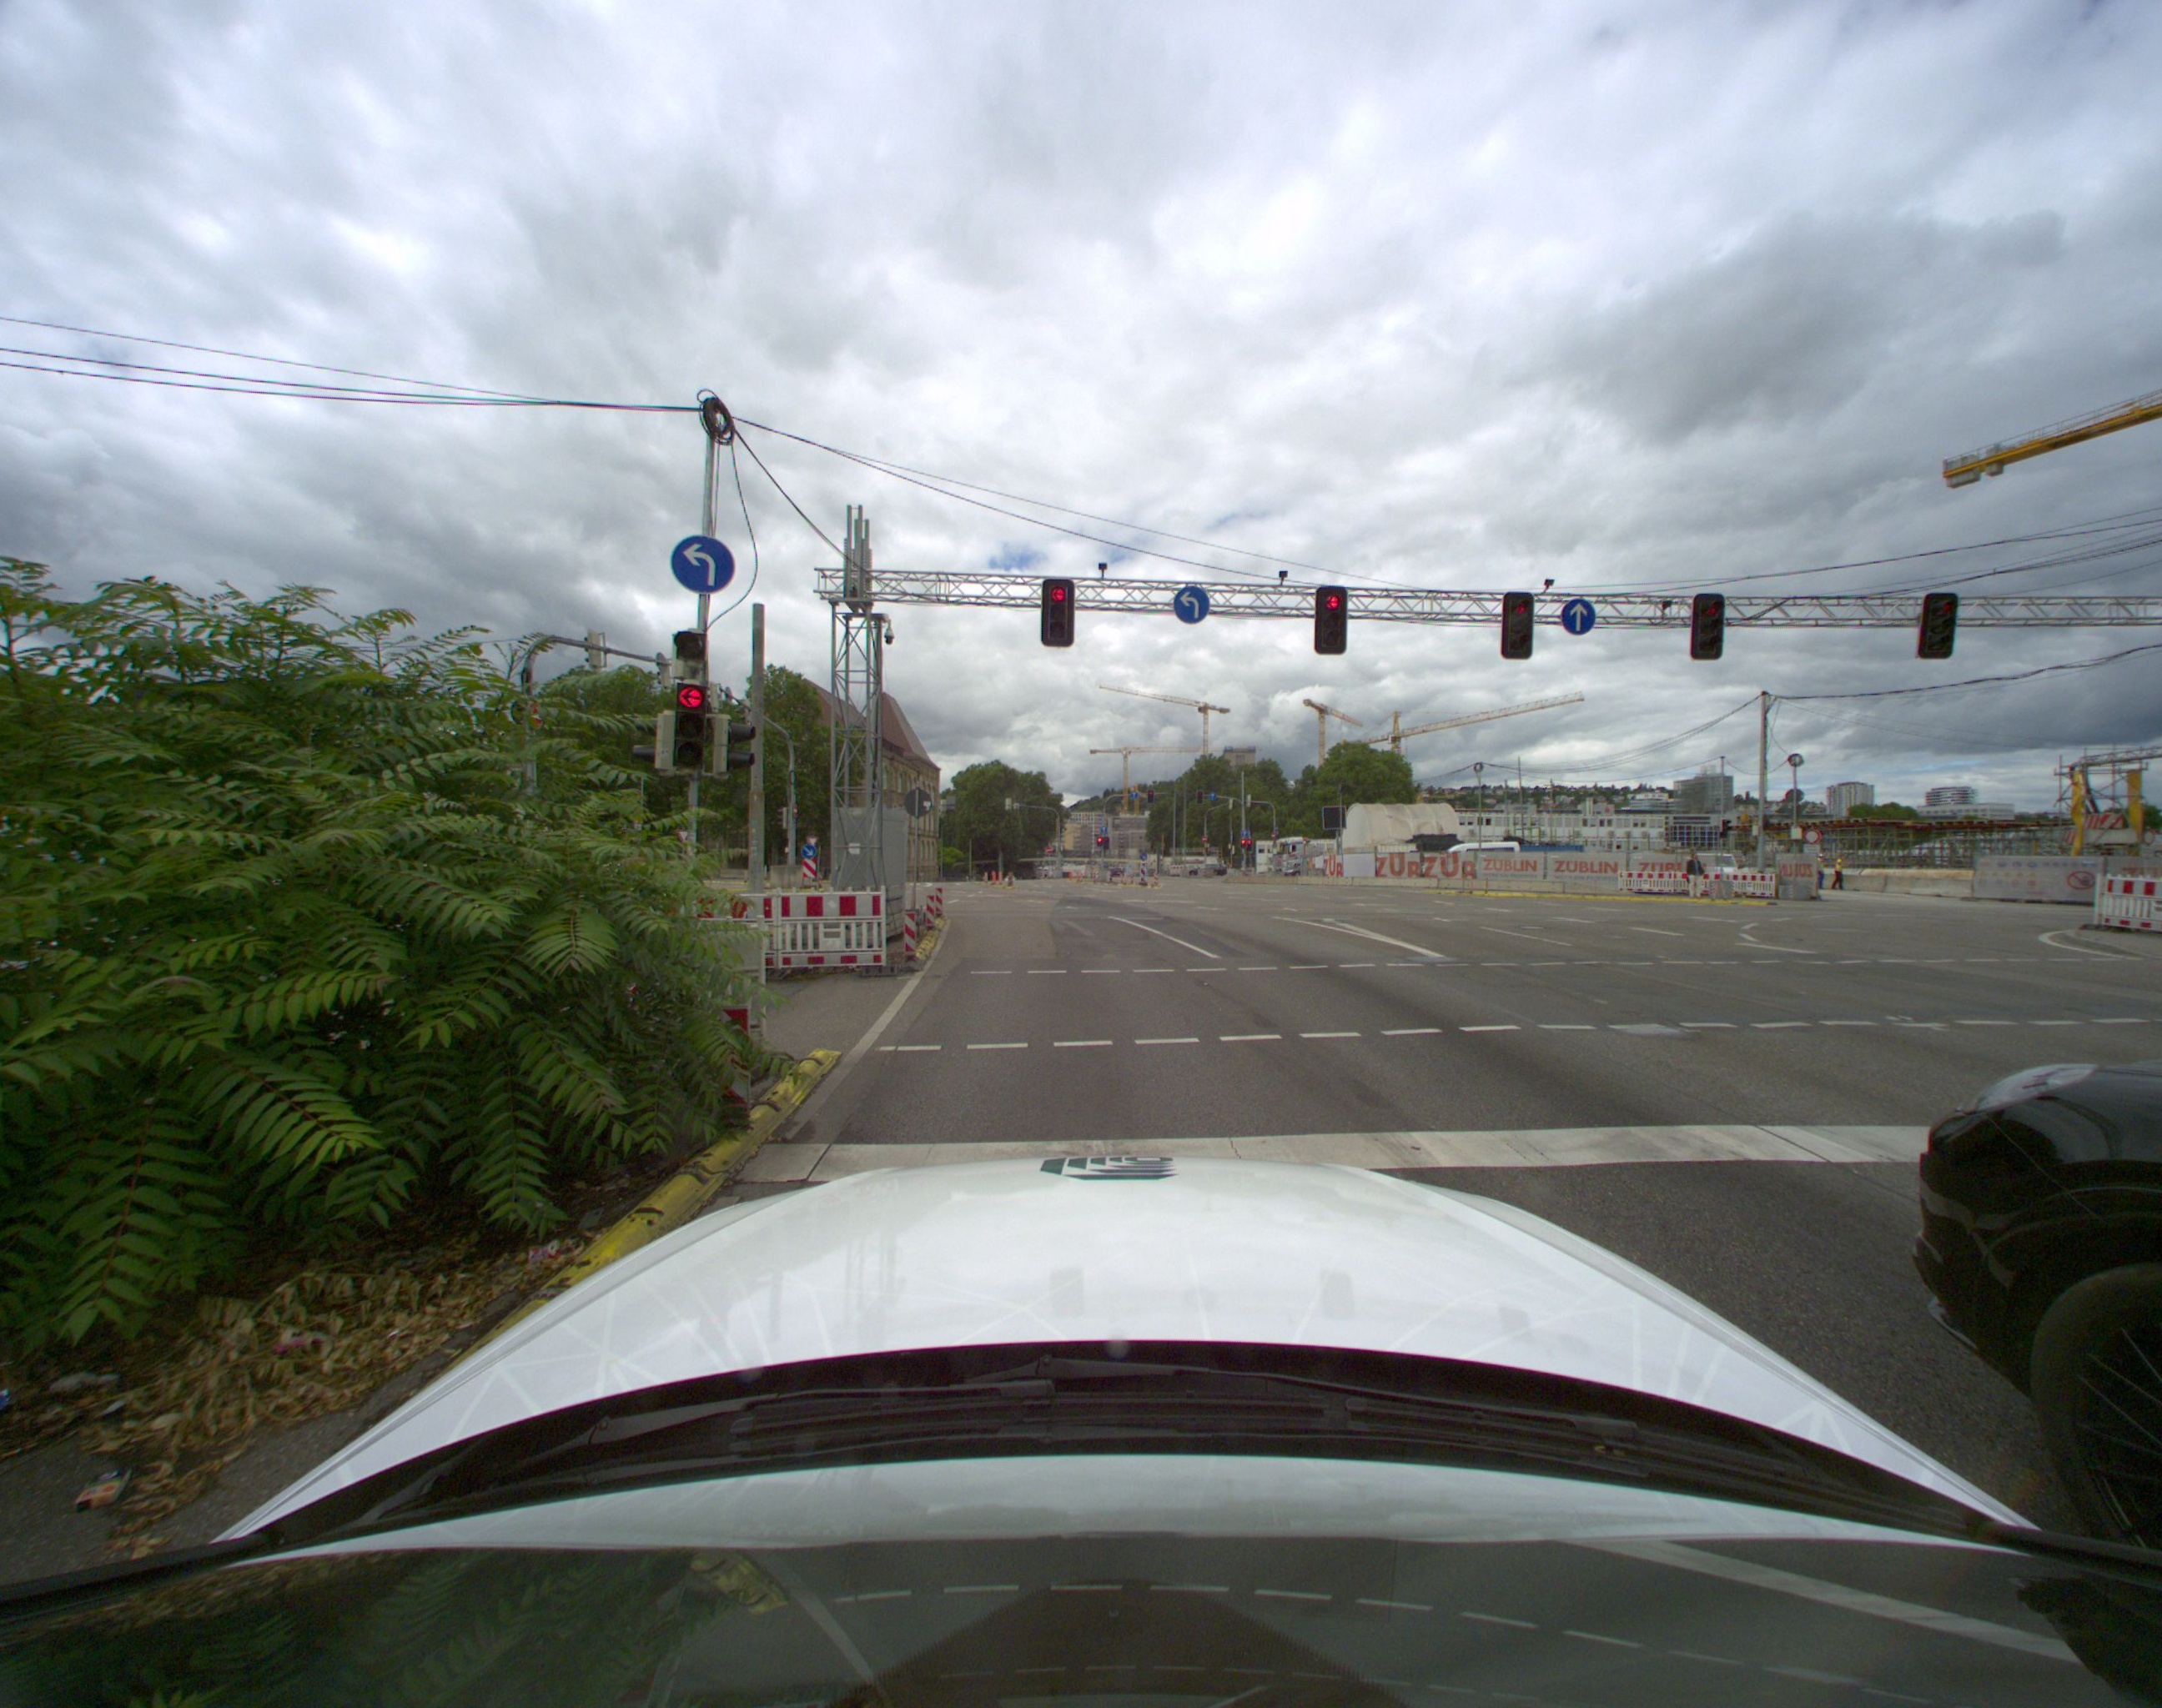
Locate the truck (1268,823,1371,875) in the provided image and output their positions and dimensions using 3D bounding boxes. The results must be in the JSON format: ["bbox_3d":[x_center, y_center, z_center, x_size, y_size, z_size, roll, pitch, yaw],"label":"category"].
[{"bbox_3d":[23.603,-0.523,80.613,9.735,4.961,3.097,0,-1,-16],"label":"truck"}]

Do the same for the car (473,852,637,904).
[{"bbox_3d":[-18.877,0.860,29.452,4.496,1.759,1.991,1,-1,-14],"label":"car"}]

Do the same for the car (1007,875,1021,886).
[{"bbox_3d":[-11.215,4.408,136.262,1.987,1.838,3.998,0,-1,-1],"label":"car"}]

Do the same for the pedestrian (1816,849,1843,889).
[{"bbox_3d":[38.285,0.745,41.655,0.673,2.014,0.869,-1,-1,14],"label":"pedestrian"}]

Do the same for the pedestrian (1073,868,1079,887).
[{"bbox_3d":[-0.494,2.321,81.179,0.583,1.840,0.604,0,-1,-2],"label":"pedestrian"}]

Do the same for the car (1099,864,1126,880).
[{"bbox_3d":[4.068,2.289,105.263,2.002,2.014,3.969,0,-1,-23],"label":"car"}]

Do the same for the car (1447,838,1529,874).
[{"bbox_3d":[23.465,0.120,47.097,3.955,2.014,2.009,-1,-1,17],"label":"car"}]

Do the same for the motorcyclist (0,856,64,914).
[{"bbox_3d":[-25.589,0.740,19.814,0.786,1.380,0.697,0,-1,-2],"label":"motorcyclist"}]

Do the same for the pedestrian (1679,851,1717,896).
[{"bbox_3d":[25.769,0.811,34.043,1.035,1.848,0.794,-1,-1,17],"label":"pedestrian"}]

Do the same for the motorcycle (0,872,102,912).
[{"bbox_3d":[-25.476,0.921,19.823,2.342,0.941,0.697,0,-1,-2],"label":"motorcycle"}]

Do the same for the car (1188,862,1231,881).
[{"bbox_3d":[14.406,1.929,91.298,4.222,2.014,2.012,-1,-1,31],"label":"car"}]

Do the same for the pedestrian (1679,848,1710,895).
[{"bbox_3d":[26.723,0.756,35.472,1.021,2.014,1.053,-1,-1,35],"label":"pedestrian"}]

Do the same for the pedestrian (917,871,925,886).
[{"bbox_3d":[-21.791,3.382,111.033,0.946,2.014,0.767,0,-1,3],"label":"pedestrian"}]

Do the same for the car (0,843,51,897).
[{"bbox_3d":[-32.865,0.474,23.309,4.094,1.547,1.999,0,-1,-1],"label":"car"}]

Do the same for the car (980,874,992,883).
[{"bbox_3d":[-19.910,5.136,171.216,1.987,1.838,3.998,0,-1,-1],"label":"car"}]

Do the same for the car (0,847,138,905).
[{"bbox_3d":[-29.661,0.605,22.795,4.095,1.547,1.999,0,-1,-2],"label":"car"}]

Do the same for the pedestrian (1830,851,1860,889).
[{"bbox_3d":[39.050,0.836,41.620,0.677,1.916,0.865,0,-1,-4],"label":"pedestrian"}]
